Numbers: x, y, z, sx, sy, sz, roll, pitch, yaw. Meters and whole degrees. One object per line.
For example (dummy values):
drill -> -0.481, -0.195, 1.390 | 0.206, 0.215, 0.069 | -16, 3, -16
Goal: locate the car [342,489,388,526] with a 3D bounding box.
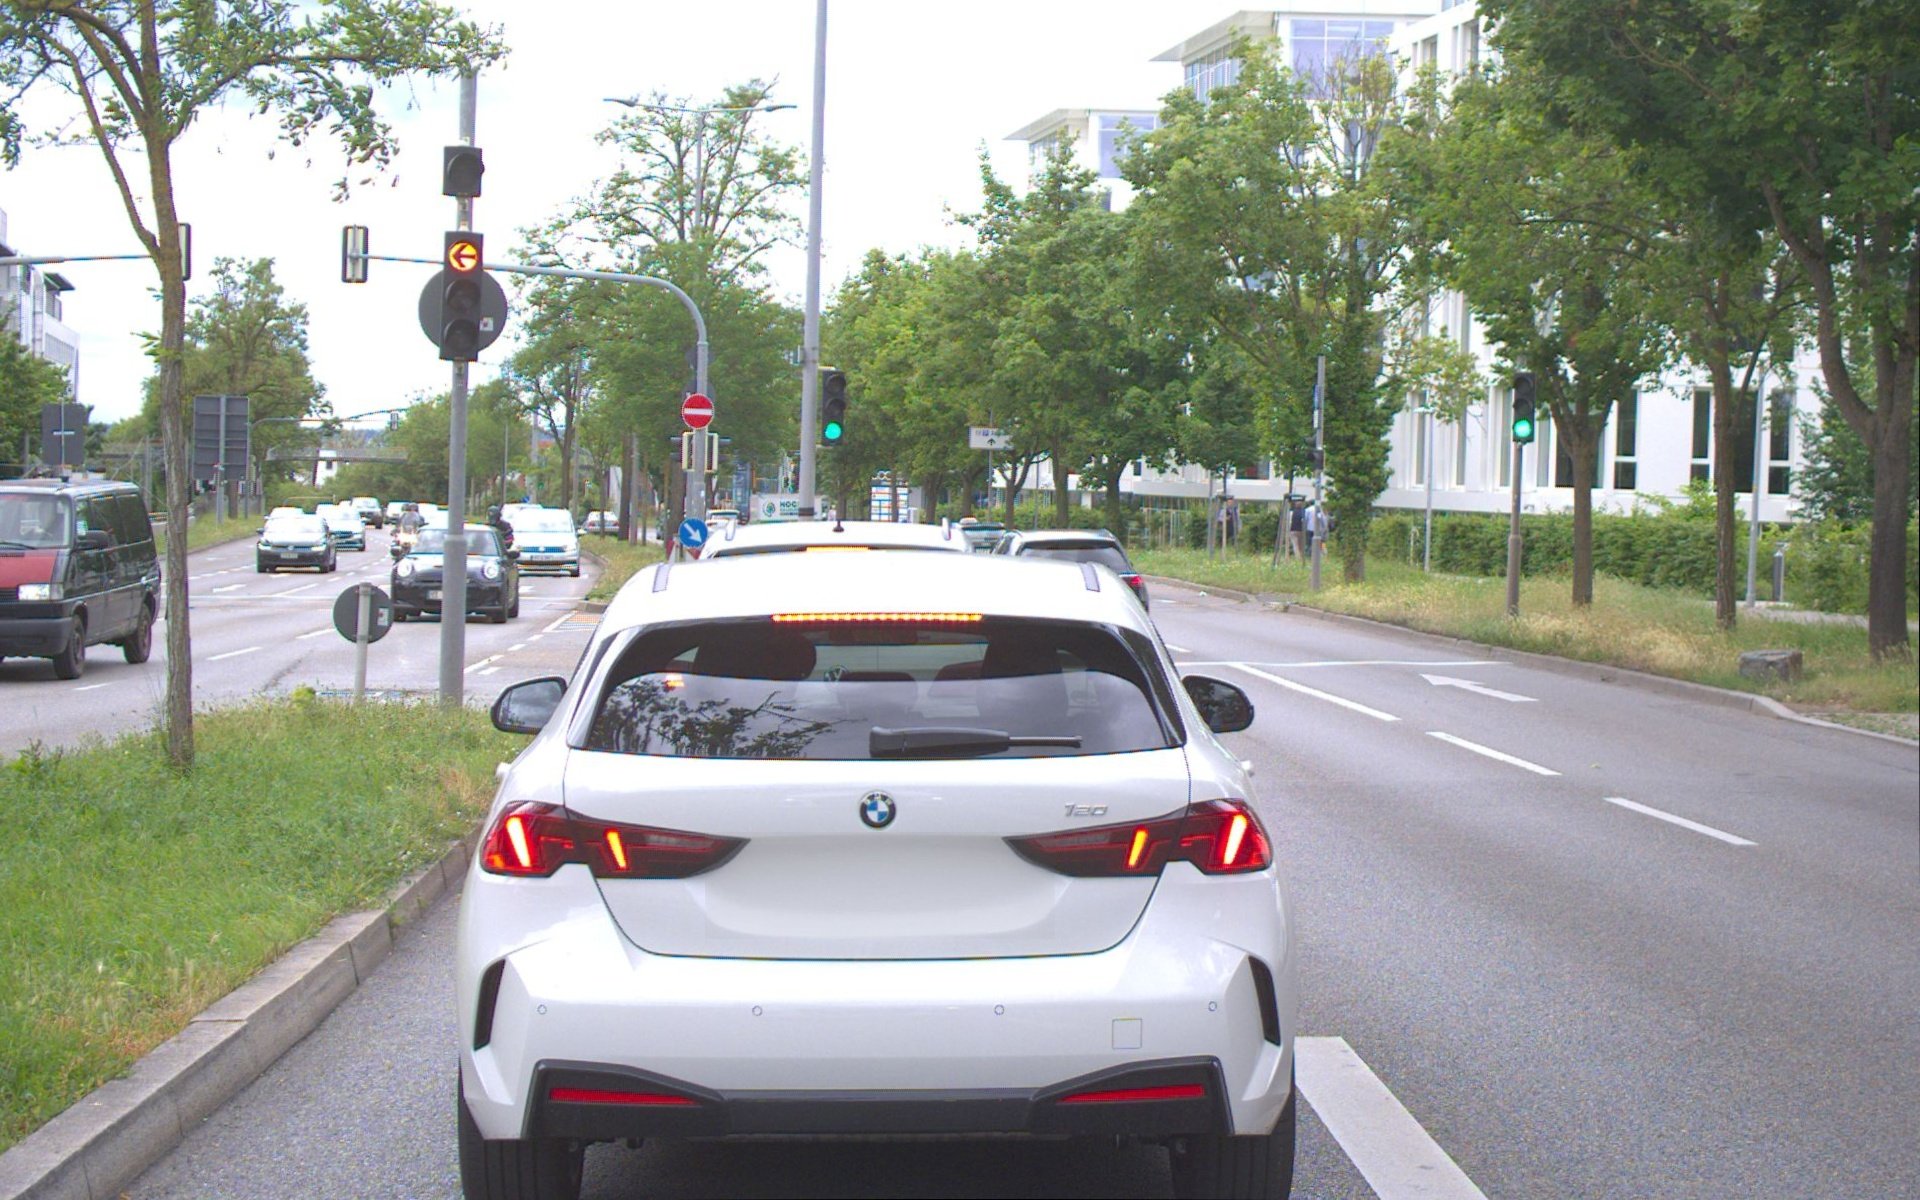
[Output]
car -> -33.076, -5.123, 191.080 | 1.993, 2.004, 4.325 | 1, 1, -3

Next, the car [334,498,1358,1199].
car -> -0.155, 0.532, 8.342 | 1.863, 1.444, 4.000 | 1, 1, 2

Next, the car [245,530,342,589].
car -> -16.460, -1.016, 85.038 | 1.708, 1.414, 3.803 | 0, 1, -1

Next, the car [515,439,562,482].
car -> -21.380, -7.059, 174.585 | 1.993, 2.004, 4.325 | 3, 1, -3

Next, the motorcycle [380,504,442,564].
motorcycle -> -13.322, -1.608, 83.595 | 0.889, 1.393, 4.000 | 1, 1, -1

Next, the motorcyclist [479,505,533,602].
motorcyclist -> -8.740, -0.895, 66.172 | 0.848, 1.830, 1.259 | 1, 1, -1

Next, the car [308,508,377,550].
car -> -21.076, -2.433, 117.440 | 1.708, 1.414, 3.803 | 0, 1, -1

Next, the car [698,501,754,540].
car -> -9.532, -3.244, 139.990 | 1.993, 1.503, 4.001 | 1, 1, -8

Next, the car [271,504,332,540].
car -> -26.193, -3.109, 136.852 | 1.708, 1.414, 3.803 | 0, 1, -1

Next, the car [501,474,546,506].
car -> -24.298, -6.119, 191.481 | 1.993, 1.612, 4.000 | 3, 1, -1

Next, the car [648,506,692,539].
car -> -14.118, -3.781, 167.475 | 1.993, 1.485, 4.001 | 2, 1, -3

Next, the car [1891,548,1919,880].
car -> 5.286, 0.553, 13.242 | 1.793, 1.467, 4.700 | 1, 1, -4

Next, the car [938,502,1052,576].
car -> 0.760, -1.402, 78.300 | 1.993, 1.590, 4.001 | 1, 1, -8

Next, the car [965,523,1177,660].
car -> 1.228, -0.152, 40.316 | 2.053, 1.481, 4.974 | -1, 1, -3

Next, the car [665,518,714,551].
car -> -12.967, -3.133, 164.422 | 1.993, 1.503, 4.001 | 1, 1, -9

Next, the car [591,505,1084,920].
car -> -0.497, 0.439, 16.158 | 1.993, 1.666, 4.000 | 1, 1, 0

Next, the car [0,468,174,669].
car -> -9.577, -0.378, 35.234 | 1.935, 1.911, 4.974 | -1, 2, -1

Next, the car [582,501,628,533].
car -> -17.335, -4.046, 168.119 | 1.993, 1.485, 4.001 | 2, 1, -3

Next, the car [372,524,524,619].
car -> -7.624, -0.451, 51.471 | 1.754, 1.366, 3.780 | 0, 1, -1

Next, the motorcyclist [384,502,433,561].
motorcyclist -> -13.320, -1.656, 83.049 | 0.910, 1.387, 1.674 | 1, 1, -1

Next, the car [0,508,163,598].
car -> -14.349, -0.779, 56.355 | 1.708, 1.414, 4.019 | 0, 1, -1

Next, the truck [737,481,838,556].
truck -> -6.147, -2.845, 121.625 | 2.858, 2.511, 6.289 | 1, 1, -9

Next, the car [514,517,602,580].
car -> -9.691, -1.256, 83.105 | 1.708, 1.492, 3.803 | 0, 1, -1

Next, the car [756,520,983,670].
car -> -0.924, -0.075, 37.461 | 1.994, 1.503, 3.999 | 1, 1, 5
